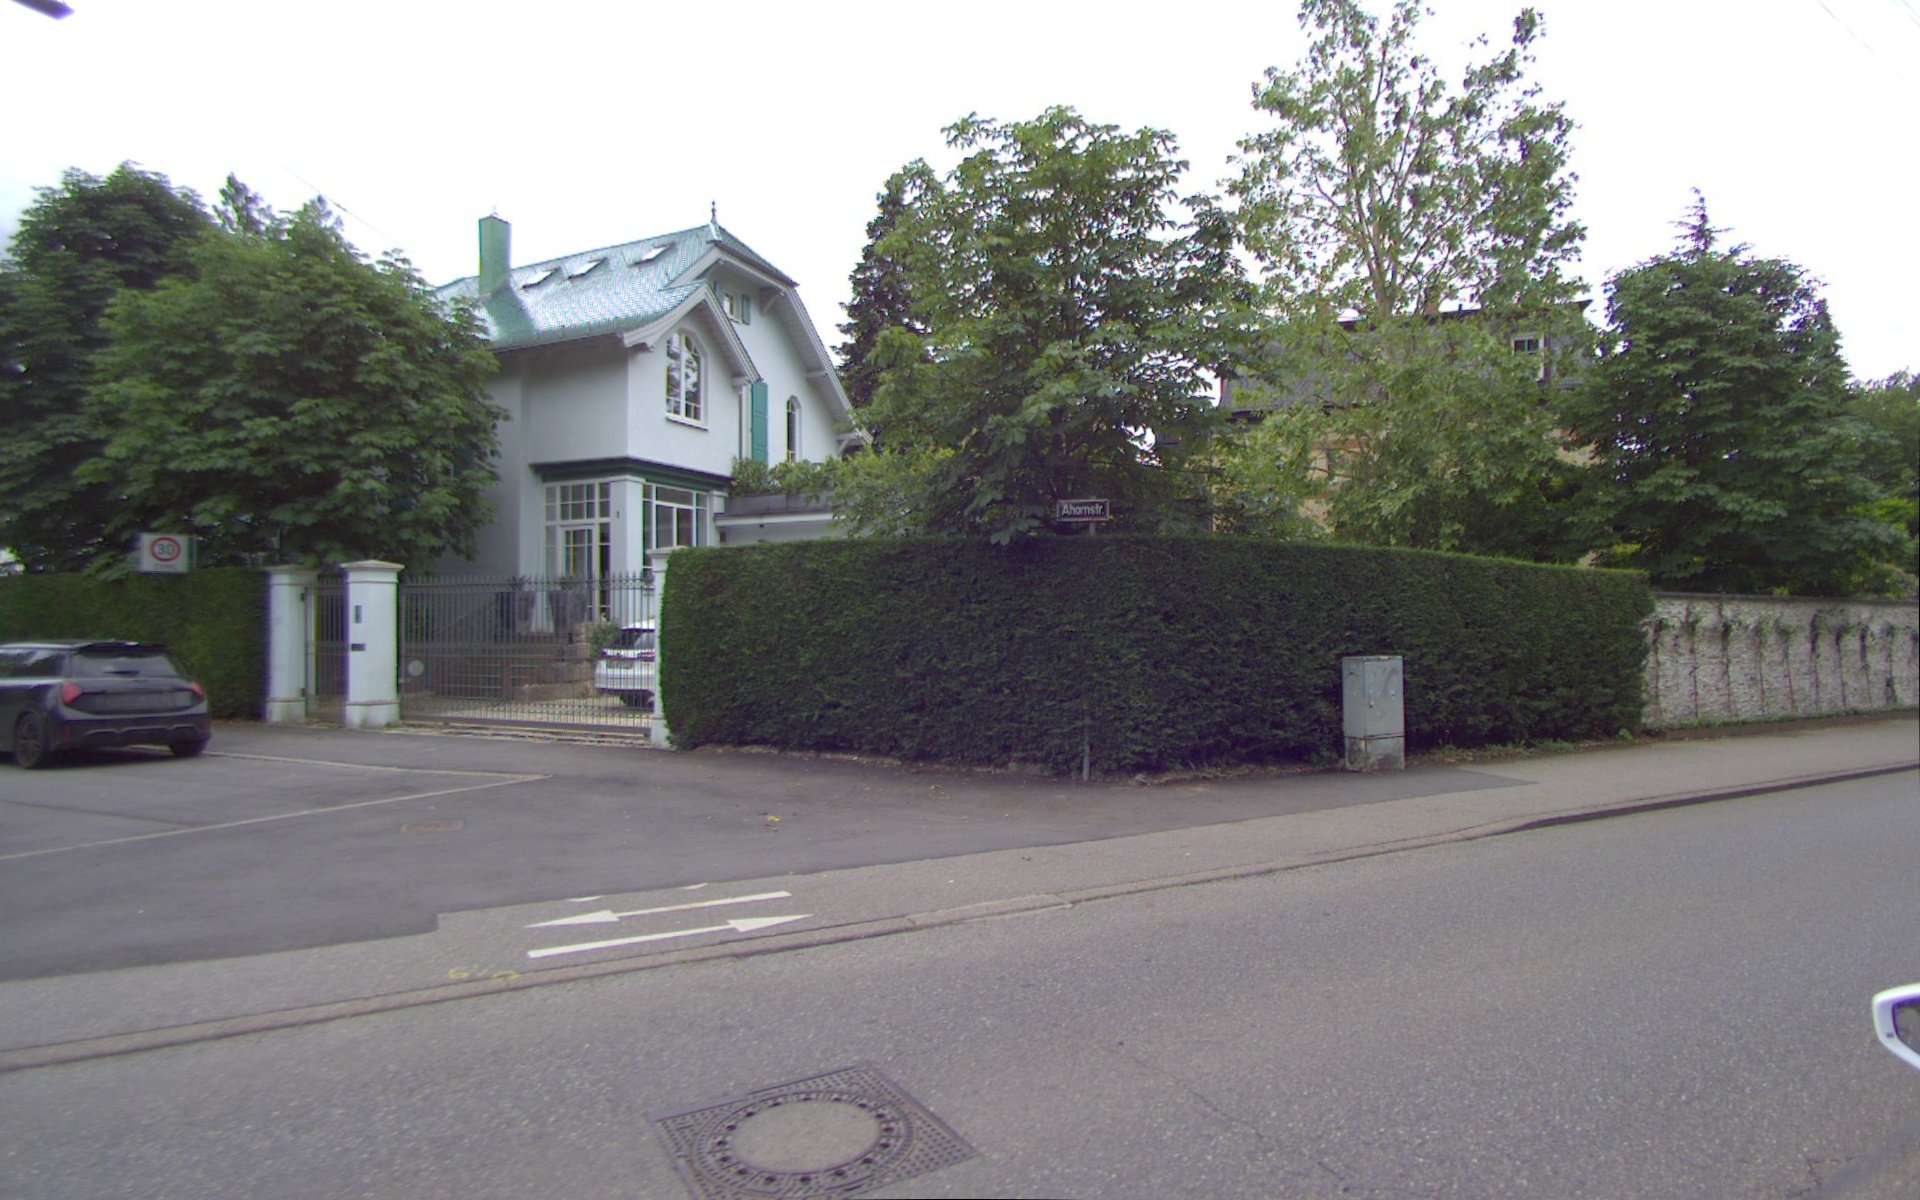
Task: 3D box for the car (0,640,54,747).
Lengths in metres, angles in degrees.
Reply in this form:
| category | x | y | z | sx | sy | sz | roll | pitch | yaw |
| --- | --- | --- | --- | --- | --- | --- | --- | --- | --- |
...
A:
| category | x | y | z | sx | sy | sz | roll | pitch | yaw |
| --- | --- | --- | --- | --- | --- | --- | --- | --- | --- |
| car | -15.107 | 1.293 | 14.337 | 3.924 | 1.439 | 1.807 | 0 | -2 | 25 |

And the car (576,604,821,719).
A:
| category | x | y | z | sx | sy | sz | roll | pitch | yaw |
| --- | --- | --- | --- | --- | --- | --- | --- | --- | --- |
| car | -4.423 | 0.960 | 17.594 | 1.964 | 1.706 | 3.993 | -1 | 0 | 28 |

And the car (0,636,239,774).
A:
| category | x | y | z | sx | sy | sz | roll | pitch | yaw |
| --- | --- | --- | --- | --- | --- | --- | --- | --- | --- |
| car | -11.084 | 1.187 | 12.418 | 3.924 | 1.439 | 1.807 | 0 | -2 | 25 |

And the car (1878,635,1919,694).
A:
| category | x | y | z | sx | sy | sz | roll | pitch | yaw |
| --- | --- | --- | --- | --- | --- | --- | --- | --- | --- |
| car | 35.299 | 2.299 | 35.324 | 2.378 | 2.100 | 5.364 | 0 | -2 | 18 |
